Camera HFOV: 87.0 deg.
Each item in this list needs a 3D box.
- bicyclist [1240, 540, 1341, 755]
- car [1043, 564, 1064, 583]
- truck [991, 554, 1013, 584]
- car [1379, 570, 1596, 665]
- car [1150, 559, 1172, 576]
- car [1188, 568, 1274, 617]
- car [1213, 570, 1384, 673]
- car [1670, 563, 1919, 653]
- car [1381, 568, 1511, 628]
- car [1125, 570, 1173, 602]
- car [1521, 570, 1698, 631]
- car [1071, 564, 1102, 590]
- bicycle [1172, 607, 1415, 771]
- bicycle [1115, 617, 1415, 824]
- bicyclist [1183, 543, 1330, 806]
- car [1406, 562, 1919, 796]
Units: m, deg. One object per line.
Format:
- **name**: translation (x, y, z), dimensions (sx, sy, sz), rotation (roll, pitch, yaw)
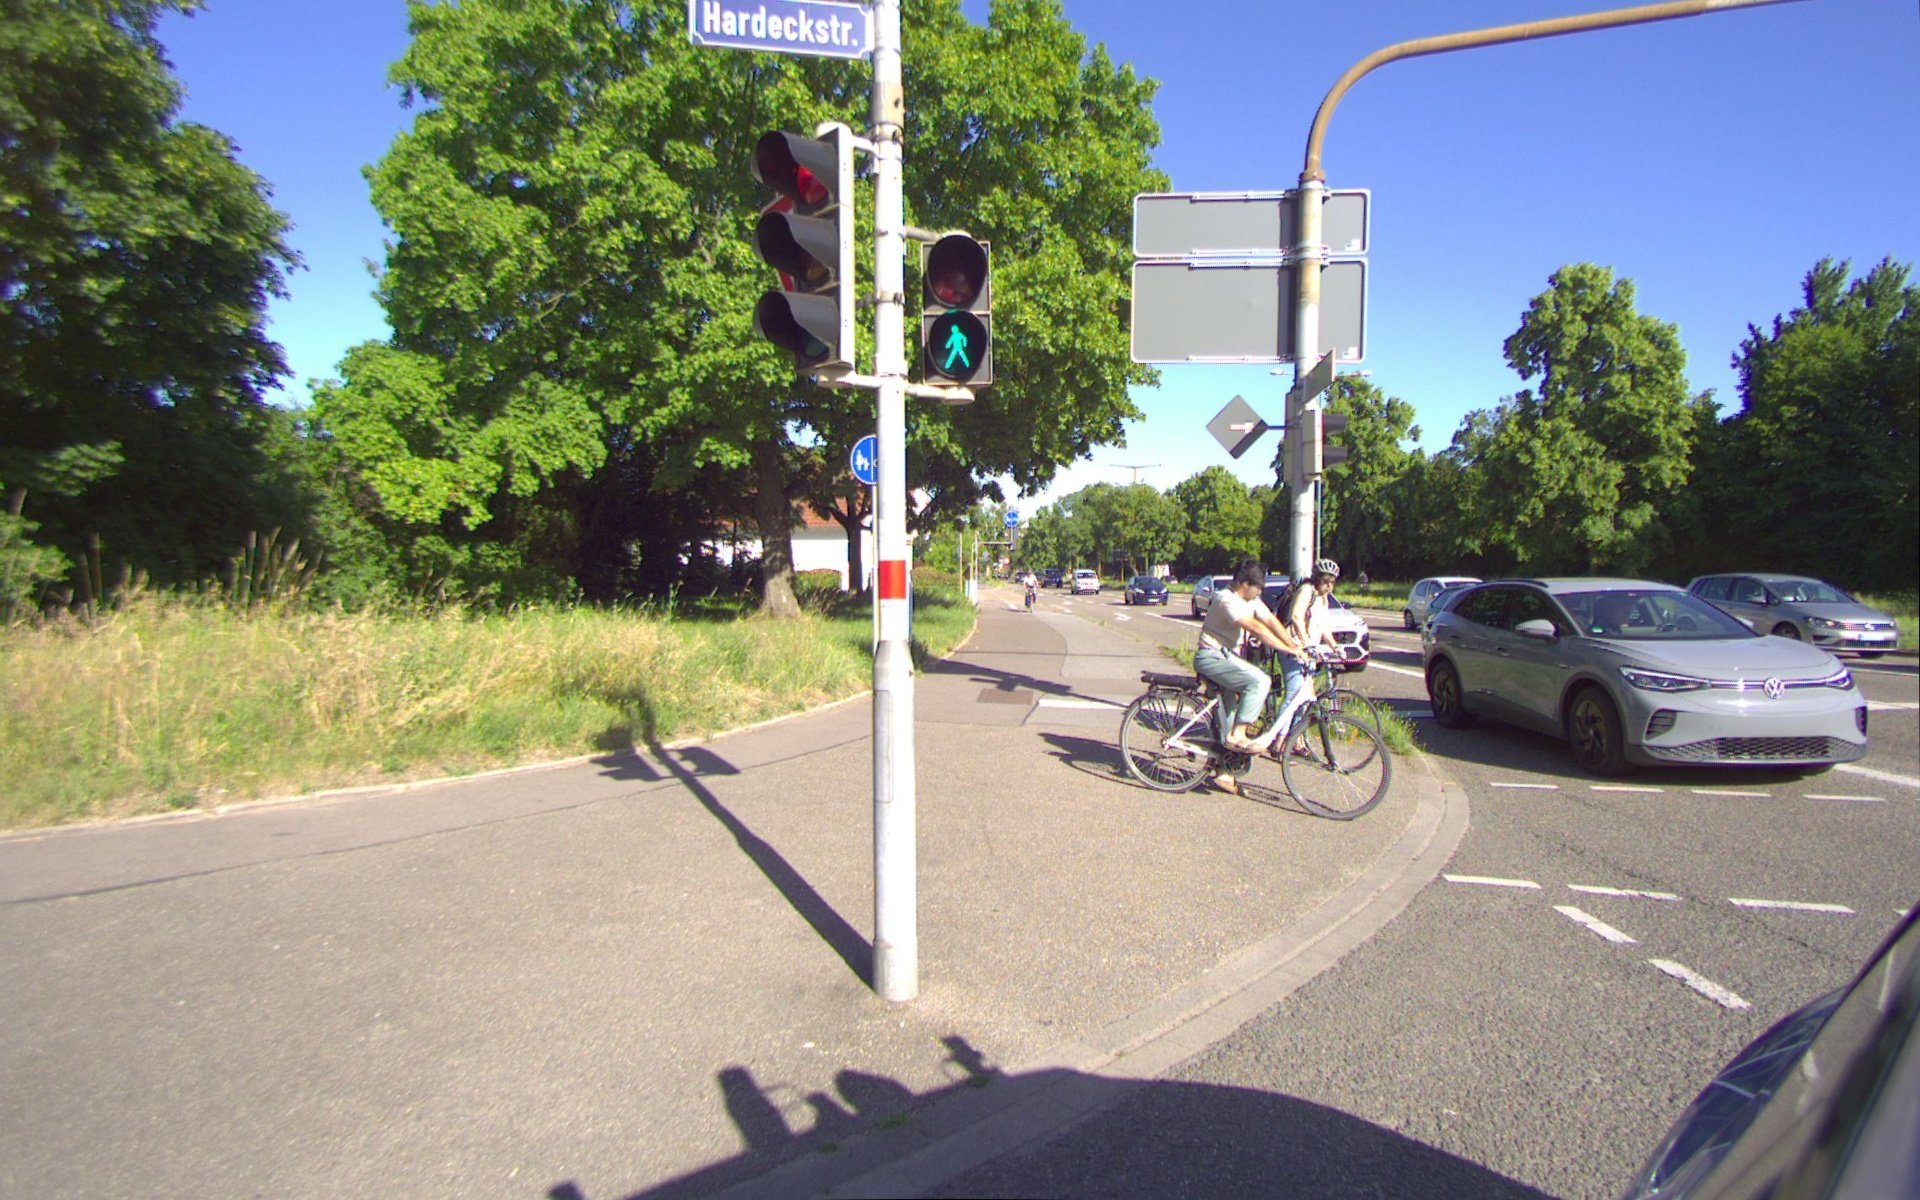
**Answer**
- **bicyclist**: translation (2.785, 0.368, 8.536), dimensions (0.583, 1.716, 0.519), rotation (5, 5, 41)
- **car**: translation (9.466, -2.679, 102.710), dimensions (1.807, 1.820, 3.913), rotation (-2, 2, 0)
- **truck**: translation (4.408, -3.295, 107.643), dimensions (1.962, 3.114, 5.810), rotation (-2, 2, 0)
- **car**: translation (9.683, 0.221, 19.038), dimensions (1.885, 1.504, 4.364), rotation (-2, 2, 2)
- **car**: translation (25.042, -4.041, 126.137), dimensions (1.882, 2.110, 4.540), rotation (-2, 2, 1)
- **car**: translation (9.319, -0.317, 35.176), dimensions (1.885, 1.504, 4.364), rotation (-2, 2, 2)
- **car**: translation (5.955, 0.289, 18.322), dimensions (1.661, 1.592, 4.122), rotation (-2, 2, 0)
- **car**: translation (16.572, 0.071, 20.169), dimensions (1.844, 1.594, 4.244), rotation (0, 2, 0)
- **car**: translation (13.217, -0.104, 27.798), dimensions (1.661, 1.457, 3.913), rotation (-2, 2, 0)
- **car**: translation (9.570, -0.748, 51.381), dimensions (1.661, 1.457, 3.913), rotation (-2, 2, 0)
- **car**: translation (16.782, -0.052, 26.444), dimensions (1.802, 1.422, 4.356), rotation (0, 2, 0)
- **car**: translation (9.570, -1.750, 76.705), dimensions (1.765, 1.820, 3.913), rotation (-2, 2, 0)
- **bicycle**: translation (2.770, 0.693, 8.568), dimensions (1.863, 1.089, 0.523), rotation (6, 6, 41)
- **bicycle**: translation (2.064, 0.766, 6.943), dimensions (1.851, 1.089, 0.527), rotation (5, 5, 25)
- **bicyclist**: translation (2.038, 0.469, 6.951), dimensions (0.799, 1.654, 0.539), rotation (5, 5, 23)
- **car**: translation (6.196, 0.511, 9.617), dimensions (1.956, 1.660, 4.365), rotation (-2, 2, 0)
